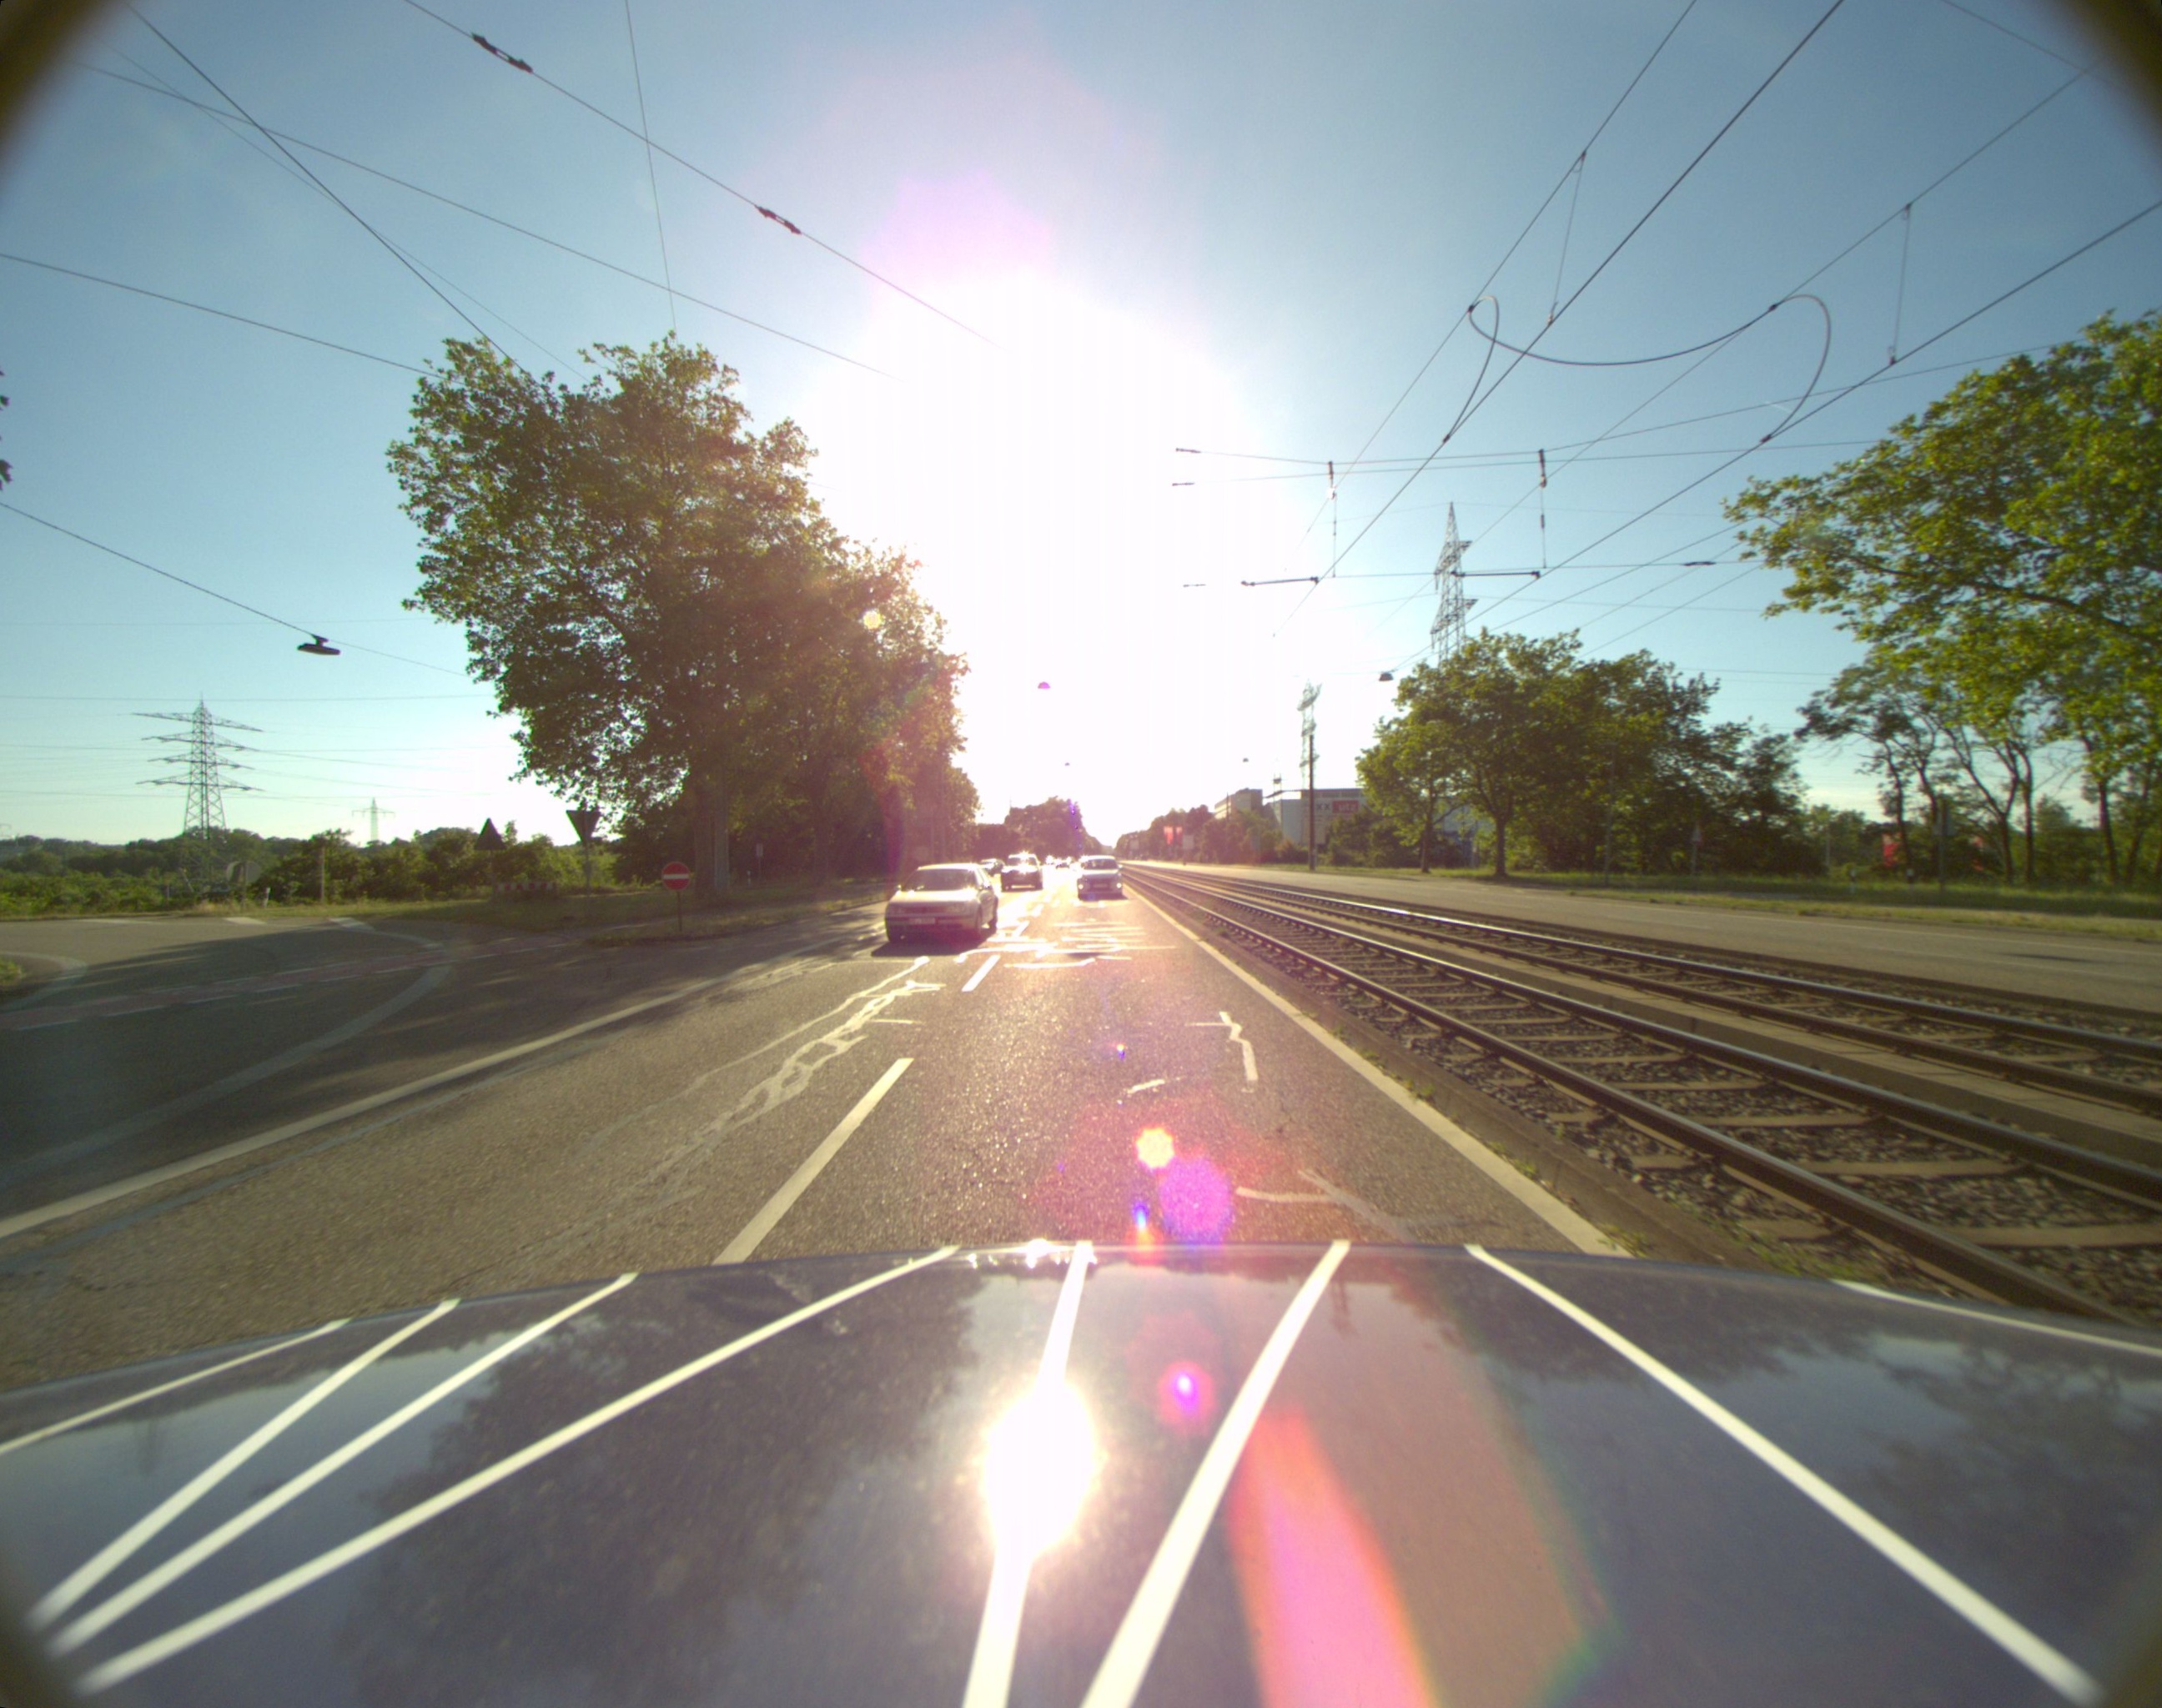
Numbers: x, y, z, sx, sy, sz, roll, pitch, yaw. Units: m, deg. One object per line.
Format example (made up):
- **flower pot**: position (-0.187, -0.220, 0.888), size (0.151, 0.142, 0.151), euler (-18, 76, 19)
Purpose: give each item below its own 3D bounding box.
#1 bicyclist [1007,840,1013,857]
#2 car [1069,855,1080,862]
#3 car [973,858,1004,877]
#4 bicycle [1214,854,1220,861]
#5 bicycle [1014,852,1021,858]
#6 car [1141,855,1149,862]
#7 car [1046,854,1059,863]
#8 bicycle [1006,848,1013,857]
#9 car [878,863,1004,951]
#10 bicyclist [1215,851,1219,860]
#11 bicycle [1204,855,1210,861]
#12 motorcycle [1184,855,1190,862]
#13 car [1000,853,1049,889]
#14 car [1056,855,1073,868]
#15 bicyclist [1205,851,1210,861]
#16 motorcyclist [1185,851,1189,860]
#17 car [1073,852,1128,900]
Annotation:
- **bicyclist**: position (-8.968, -0.700, 95.625), size (0.528, 2.005, 0.729), euler (-3, 1, 2)
- **car**: position (-1.310, 0.923, 157.201), size (1.880, 1.449, 4.417), euler (-1, 1, 4)
- **car**: position (-7.834, 1.149, 64.704), size (1.881, 1.435, 4.660), euler (-1, 1, 3)
- **bicycle**: position (22.098, 0.549, 123.327), size (0.591, 1.016, 2.185), euler (-1, 1, 0)
- **bicycle**: position (-8.931, 0.170, 106.740), size (0.628, 0.829, 1.635), euler (3, 1, 3)
- **car**: position (18.645, 1.241, 222.450), size (1.998, 1.911, 4.861), euler (0, -1, 2)
- **car**: position (-5.287, 0.844, 141.830), size (1.880, 1.449, 4.417), euler (-1, 1, 4)
- **bicycle**: position (-8.955, -0.221, 95.414), size (0.528, 1.054, 1.972), euler (-3, 0, 2)
- **car**: position (-2.681, 0.968, 15.445), size (1.695, 1.437, 4.001), euler (-1, 1, 1)
- **bicyclist**: position (22.090, 0.282, 123.321), size (0.591, 1.519, 0.906), euler (-1, 1, 0)
- **bicycle**: position (20.491, 0.622, 123.307), size (0.591, 1.016, 2.185), euler (-1, 1, 0)
- **motorcycle**: position (16.020, 0.675, 114.686), size (0.537, 1.084, 1.902), euler (-3, 1, 0)
- **car**: position (-2.702, 0.766, 37.161), size (1.881, 1.591, 4.417), euler (-1, 1, 2)
- **car**: position (-2.035, 0.876, 94.350), size (1.881, 1.449, 4.417), euler (-1, 1, 2)
- **bicyclist**: position (20.476, 0.338, 123.143), size (0.591, 1.601, 0.967), euler (-1, 1, 0)
- **motorcyclist**: position (16.000, 0.254, 114.693), size (0.537, 1.263, 0.805), euler (-3, 1, 0)
- **car**: position (0.761, 0.764, 28.681), size (1.881, 1.591, 4.417), euler (-1, 1, 2)
